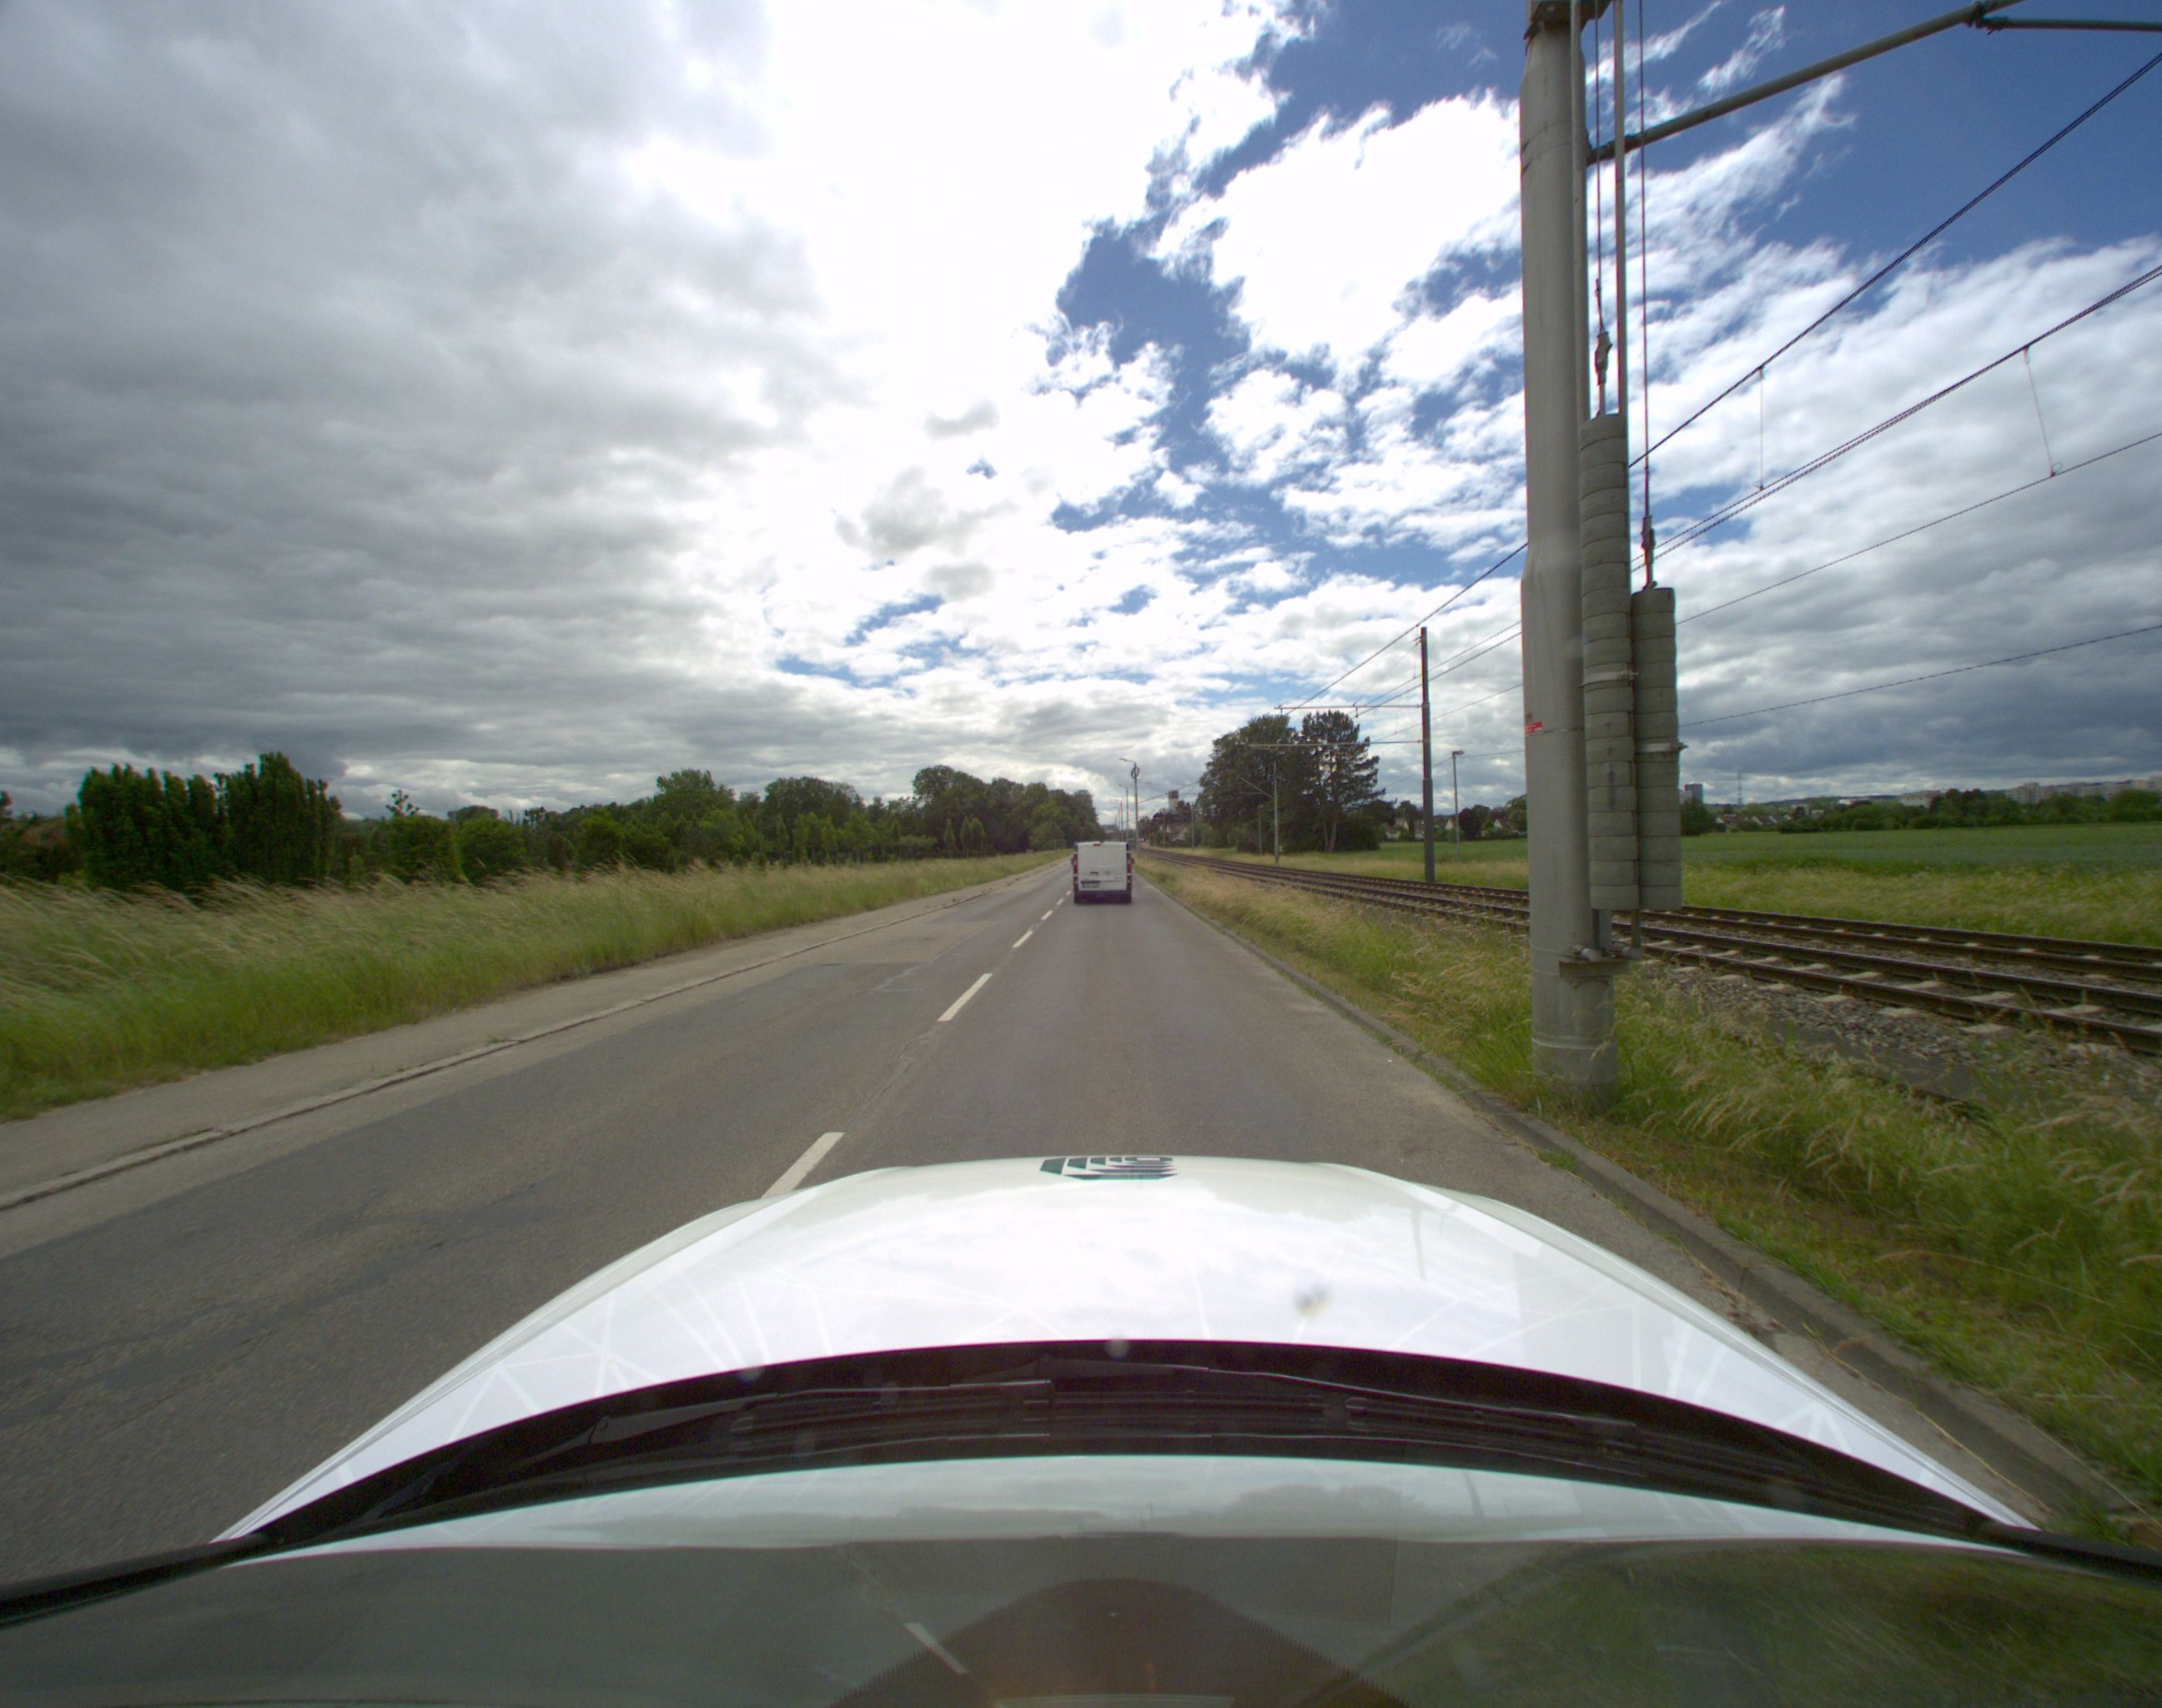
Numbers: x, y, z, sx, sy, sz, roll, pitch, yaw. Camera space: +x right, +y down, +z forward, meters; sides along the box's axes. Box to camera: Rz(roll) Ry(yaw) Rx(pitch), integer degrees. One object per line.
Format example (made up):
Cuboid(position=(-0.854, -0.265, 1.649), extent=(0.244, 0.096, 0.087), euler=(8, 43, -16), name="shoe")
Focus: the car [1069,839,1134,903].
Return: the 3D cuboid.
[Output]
Cuboid(position=(0.653, 0.527, 26.985), extent=(1.987, 1.957, 4.000), euler=(0, 0, 1), name="car")
